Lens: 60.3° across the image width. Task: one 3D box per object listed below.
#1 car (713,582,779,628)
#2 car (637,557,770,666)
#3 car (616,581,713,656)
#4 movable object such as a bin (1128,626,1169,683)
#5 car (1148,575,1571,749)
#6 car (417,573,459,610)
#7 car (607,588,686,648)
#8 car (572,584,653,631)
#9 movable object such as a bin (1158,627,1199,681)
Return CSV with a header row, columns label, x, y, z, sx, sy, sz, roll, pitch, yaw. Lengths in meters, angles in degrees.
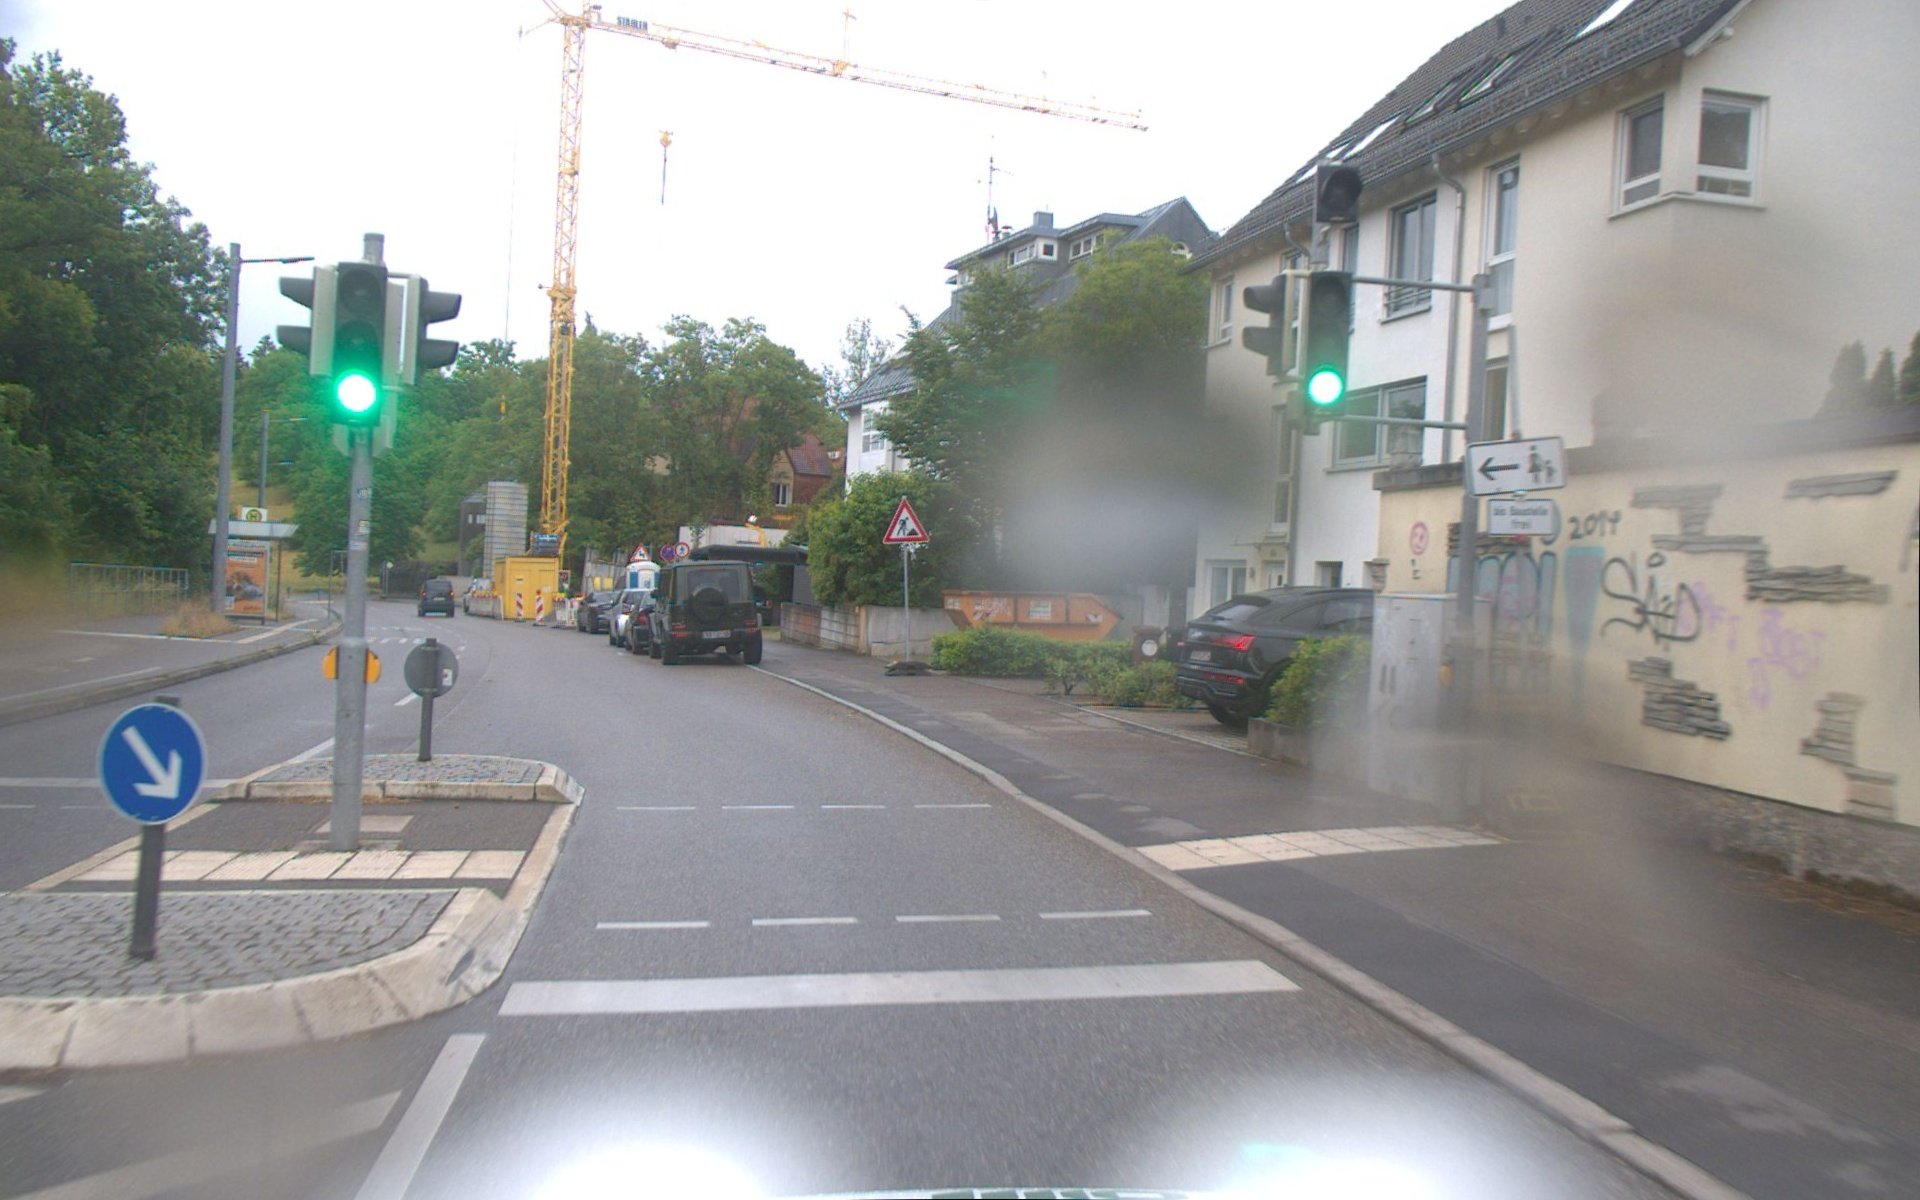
label,x,y,z,sx,sy,sz,roll,pitch,yaw
car,-7.873,0.164,60.602,1.668,1.498,3.980,4,-1,-17
car,-5.334,0.207,33.855,1.962,2.049,4.932,-1,0,-17
car,-6.959,0.394,38.638,1.899,1.624,4.378,-1,0,-14
movable object such as a bin,3.266,0.939,28.697,0.498,0.957,0.593,1,0,-16
car,4.549,0.710,19.056,4.256,1.624,1.984,4,-1,-15
car,-26.681,-0.451,84.467,1.903,1.782,3.977,1,0,-20
car,-8.113,0.437,42.645,1.646,1.483,3.369,1,0,-17
car,-11.859,0.234,56.241,1.904,1.447,4.806,2,0,-22
movable object such as a bin,3.806,0.937,28.860,0.498,0.927,0.593,1,0,-16
